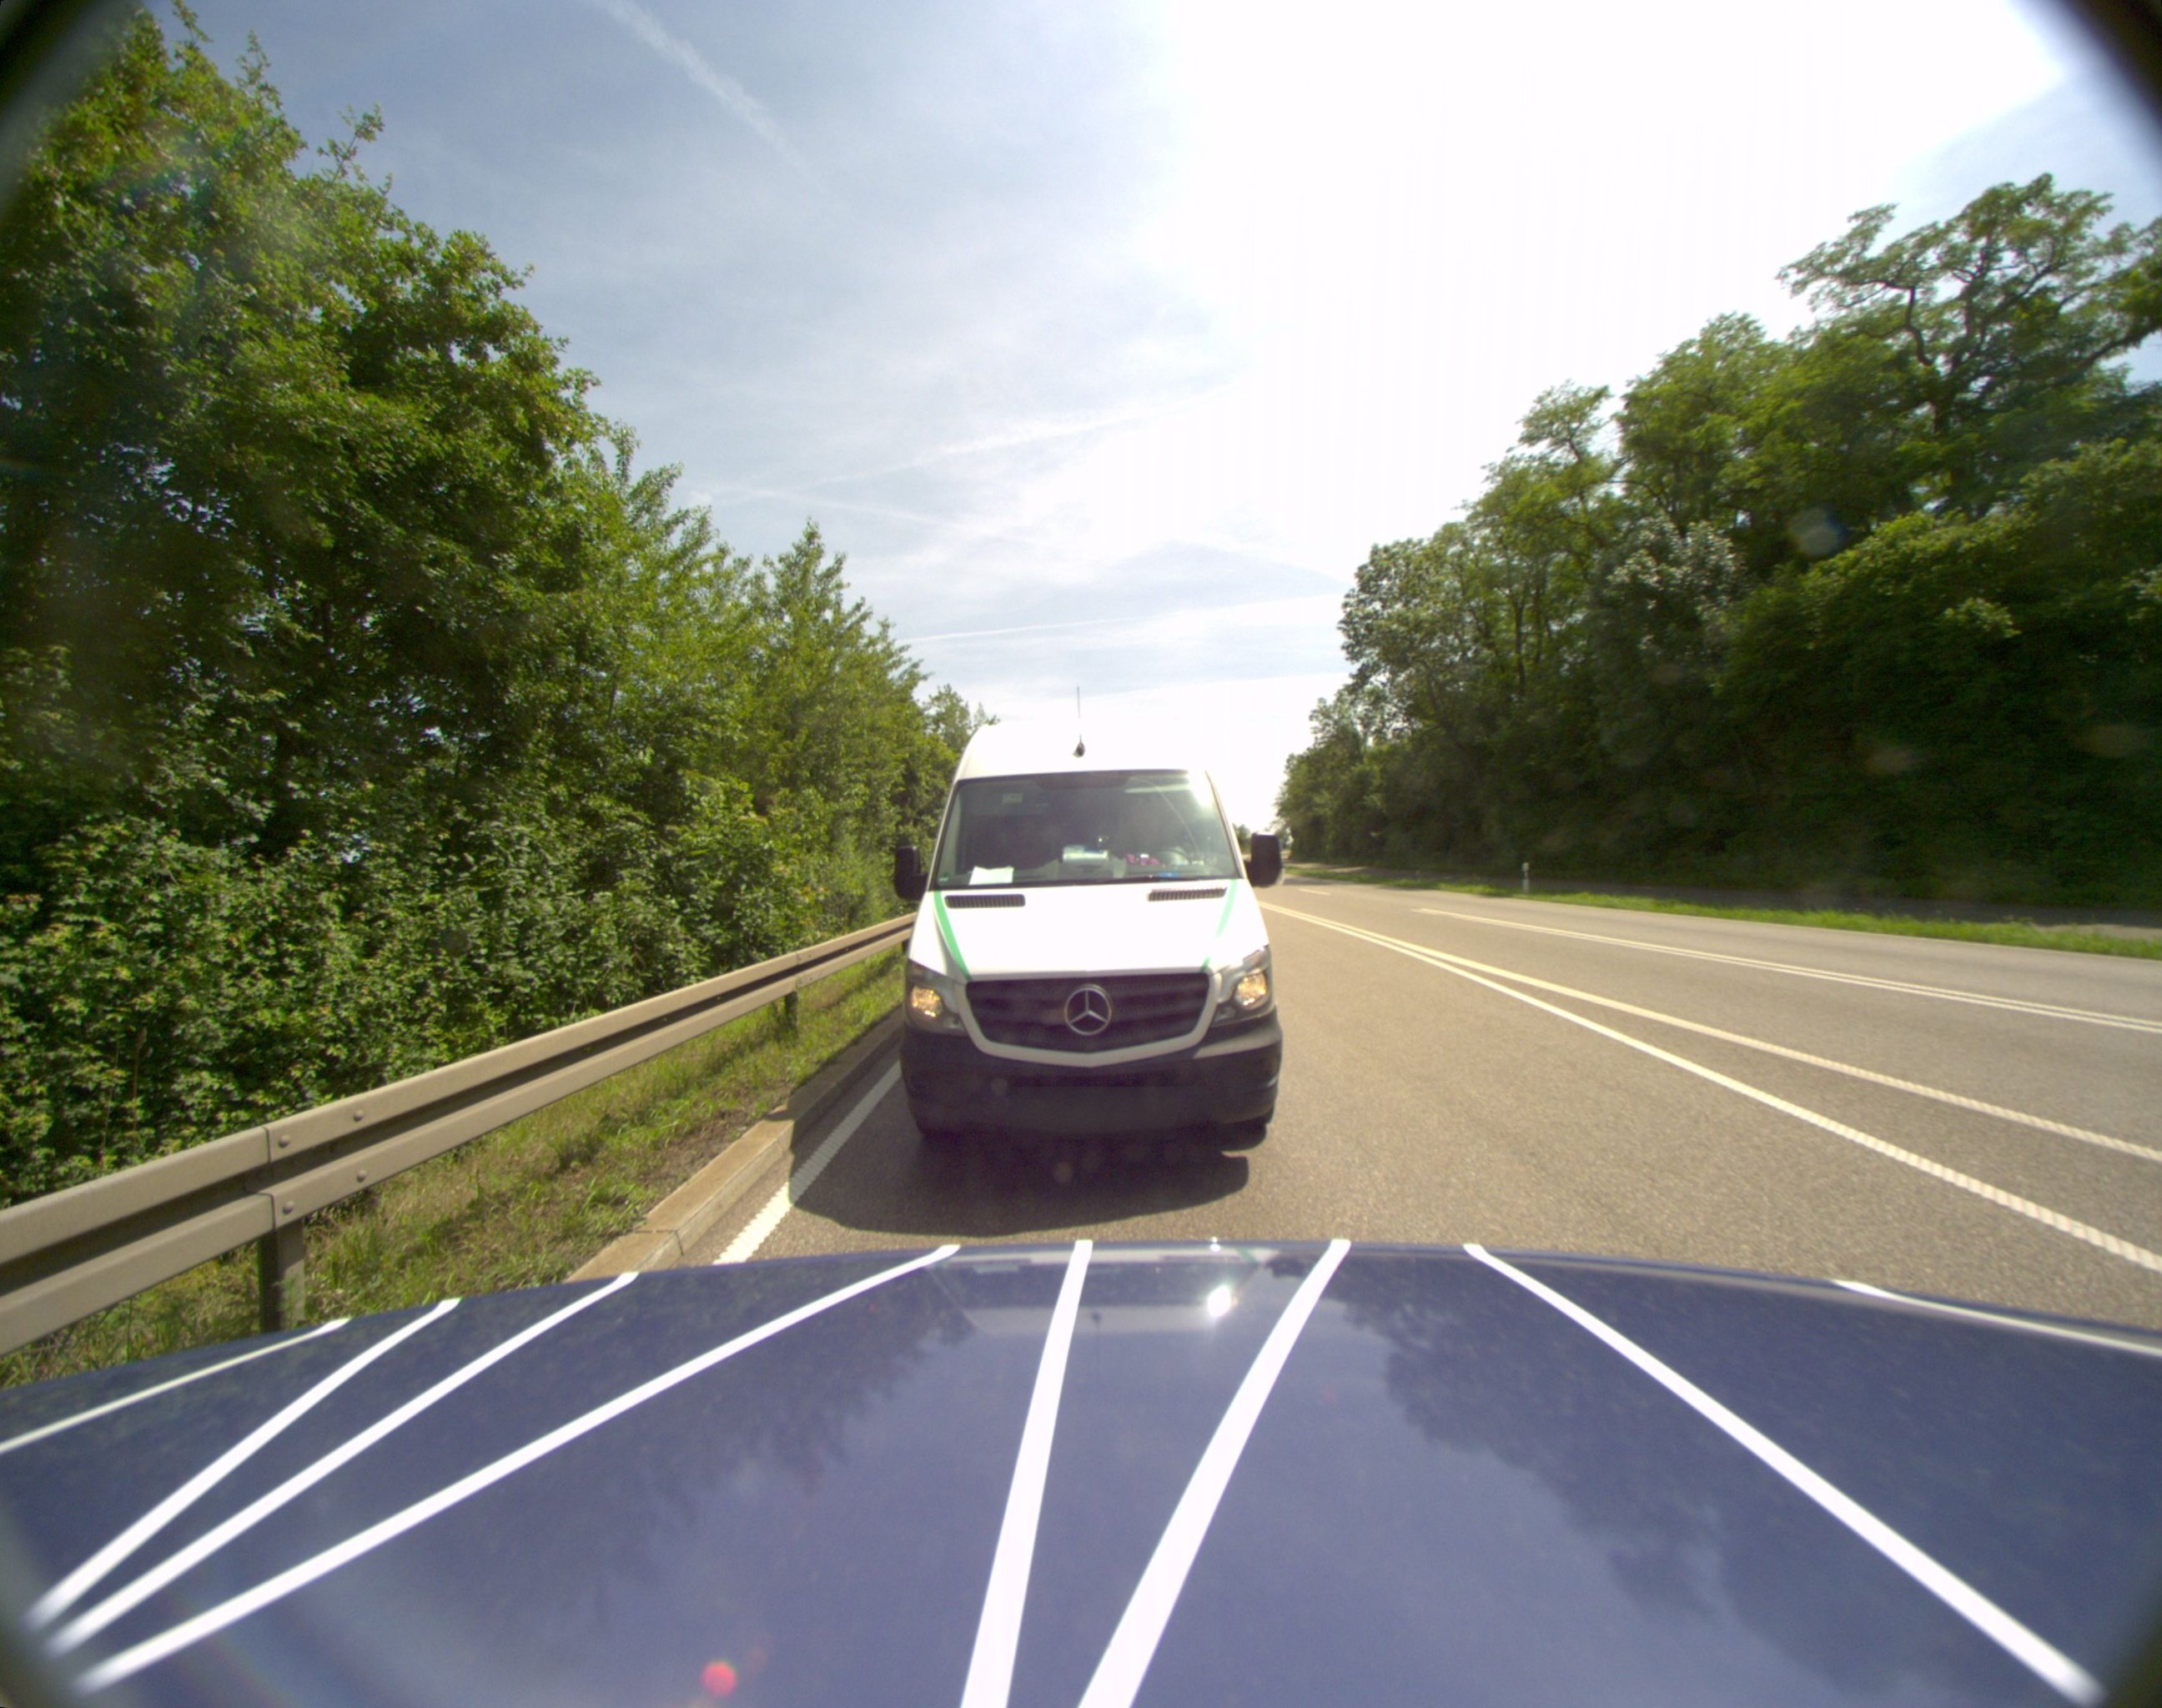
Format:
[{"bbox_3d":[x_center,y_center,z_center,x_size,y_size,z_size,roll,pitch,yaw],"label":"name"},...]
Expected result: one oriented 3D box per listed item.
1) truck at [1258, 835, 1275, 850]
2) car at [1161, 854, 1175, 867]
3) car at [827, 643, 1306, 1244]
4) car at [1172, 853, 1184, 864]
[{"bbox_3d":[59.549,-3.552,243.636,4.392,4.433,14.729,-2,0,17],"label":"truck"},{"bbox_3d":[14.138,1.012,122.960,1.850,2.002,3.875,-2,1,11],"label":"car"},{"bbox_3d":[0.018,0.394,5.862,1.958,2.502,5.267,-2,0,2],"label":"car"},{"bbox_3d":[17.876,0.820,140.100,1.764,1.849,3.813,-2,1,14],"label":"car"}]
